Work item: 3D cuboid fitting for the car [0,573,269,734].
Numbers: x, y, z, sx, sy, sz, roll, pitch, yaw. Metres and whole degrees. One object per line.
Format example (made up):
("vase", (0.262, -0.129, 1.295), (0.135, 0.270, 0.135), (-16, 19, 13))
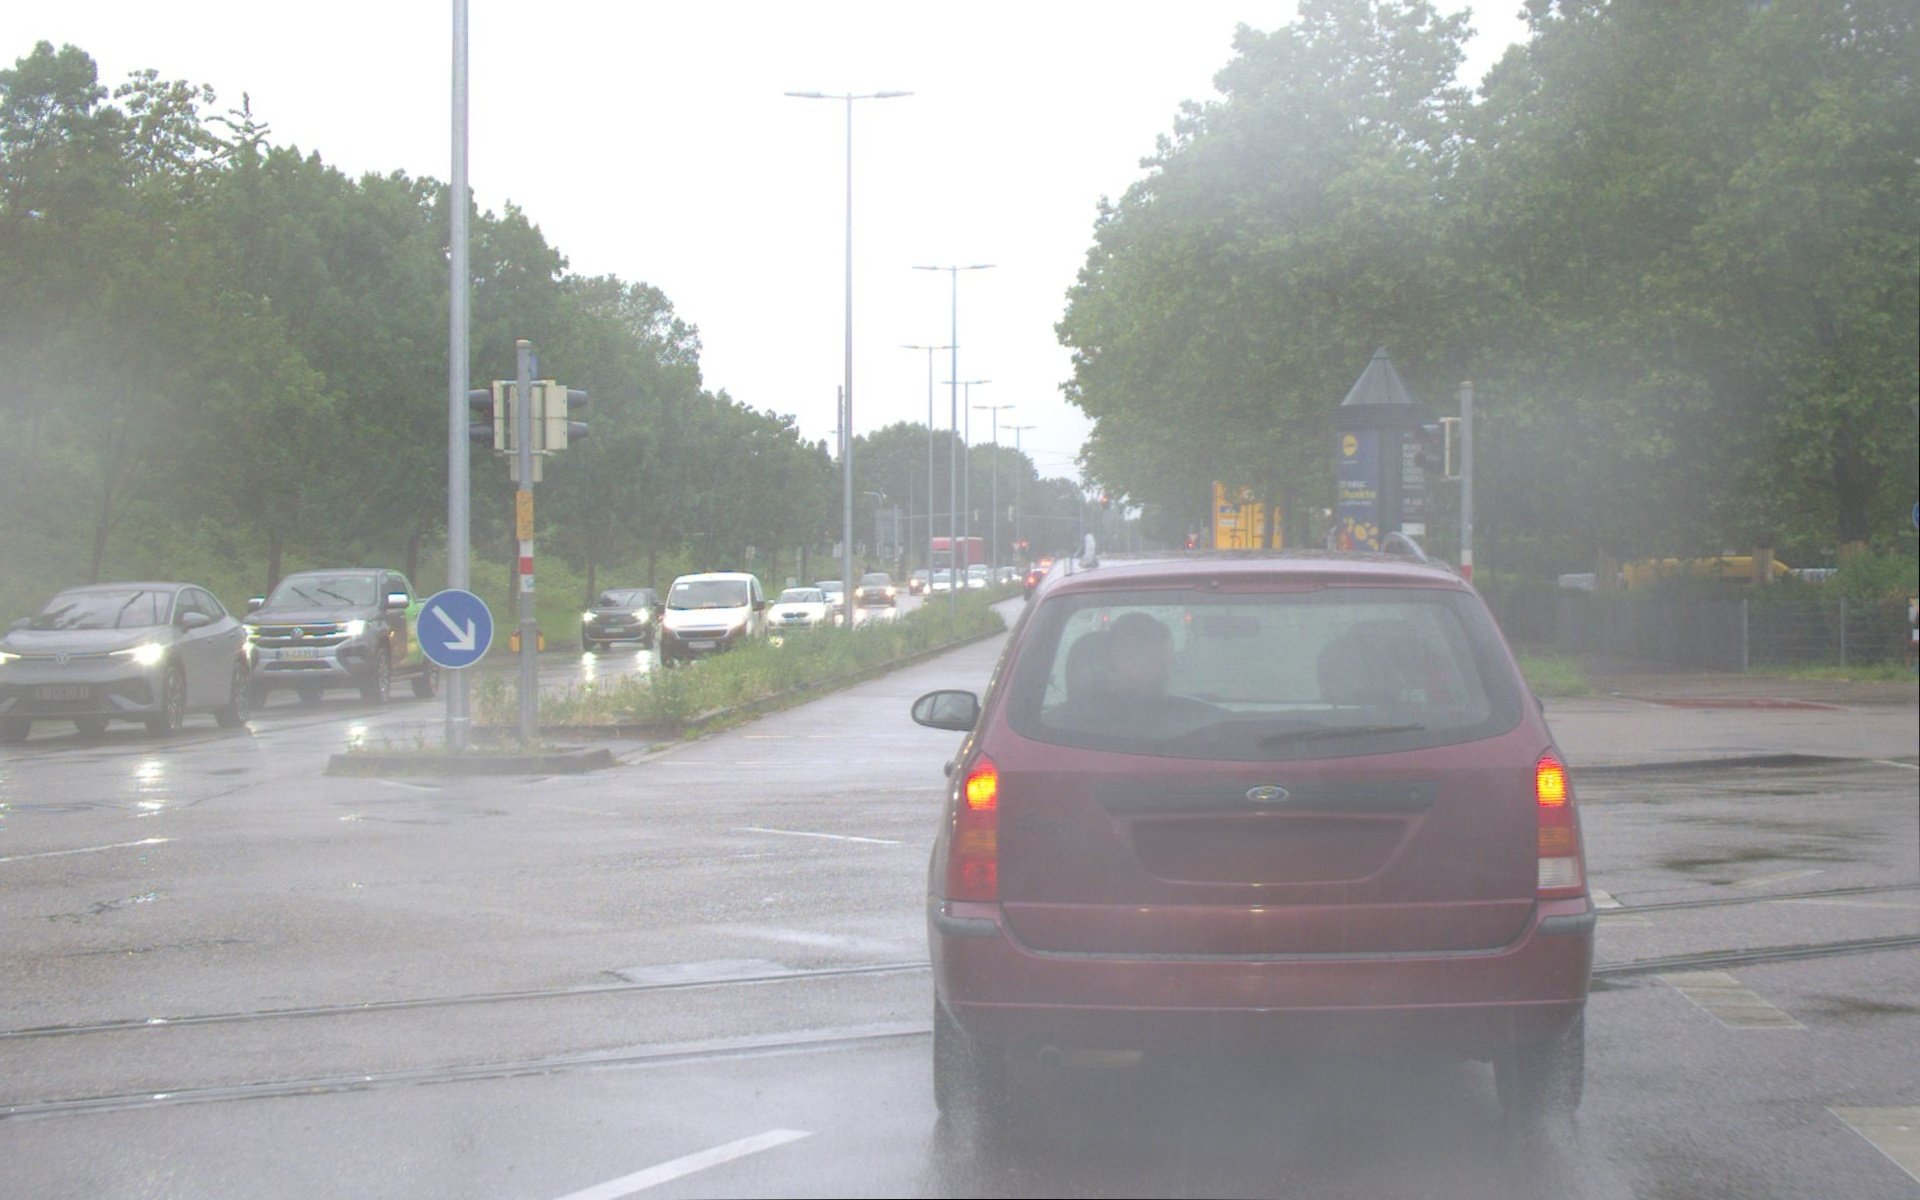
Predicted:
("car", (-8.768, 0.532, 36.490), (1.762, 1.580, 4.813), (-1, 0, 2))

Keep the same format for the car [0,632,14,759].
("car", (-11.512, 1.088, 36.820), (1.590, 1.399, 3.823), (-1, 1, 2))

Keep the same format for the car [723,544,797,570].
("car", (-12.735, -2.732, 219.251), (4.270, 1.591, 1.969), (-1, 1, -32))

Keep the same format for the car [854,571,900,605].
("car", (-3.987, -0.611, 165.749), (1.963, 1.591, 4.284), (-1, 1, 2))

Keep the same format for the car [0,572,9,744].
("car", (-9.005, 0.518, 27.653), (1.638, 1.468, 3.965), (-1, 1, -1))

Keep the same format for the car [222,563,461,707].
("car", (-8.273, 0.423, 46.528), (2.065, 1.813, 5.541), (-1, 1, 2))

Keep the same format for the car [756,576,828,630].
("car", (-5.364, 0.079, 110.339), (1.963, 1.696, 4.284), (-1, 1, 2))

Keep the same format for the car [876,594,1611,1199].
("car", (0.706, 0.761, 9.793), (1.642, 1.460, 3.732), (2, 1, 2))

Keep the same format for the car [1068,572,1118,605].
("car", (6.312, -0.536, 162.429), (2.148, 1.522, 4.191), (0, 0, 5))

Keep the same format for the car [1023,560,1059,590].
("car", (4.184, -1.308, 177.208), (1.698, 1.522, 3.845), (0, 0, 4))

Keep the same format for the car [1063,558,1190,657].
("car", (3.023, 0.108, 63.025), (1.735, 1.720, 4.244), (1, 1, -5))

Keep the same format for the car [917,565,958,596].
("car", (-1.173, -1.047, 182.507), (1.963, 1.591, 4.283), (-1, 1, 3))

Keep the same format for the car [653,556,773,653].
("car", (-4.533, 0.059, 63.698), (1.744, 1.696, 4.284), (-2, 1, 2))

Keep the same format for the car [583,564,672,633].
("car", (-8.789, -0.063, 91.130), (1.744, 1.696, 4.284), (2, 1, 2))

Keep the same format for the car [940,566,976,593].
("car", (-0.083, -1.222, 207.429), (1.963, 1.591, 4.283), (-1, 1, 3))

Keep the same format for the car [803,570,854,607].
("car", (-5.730, -0.512, 150.289), (1.963, 1.591, 4.284), (-1, 1, 2))
